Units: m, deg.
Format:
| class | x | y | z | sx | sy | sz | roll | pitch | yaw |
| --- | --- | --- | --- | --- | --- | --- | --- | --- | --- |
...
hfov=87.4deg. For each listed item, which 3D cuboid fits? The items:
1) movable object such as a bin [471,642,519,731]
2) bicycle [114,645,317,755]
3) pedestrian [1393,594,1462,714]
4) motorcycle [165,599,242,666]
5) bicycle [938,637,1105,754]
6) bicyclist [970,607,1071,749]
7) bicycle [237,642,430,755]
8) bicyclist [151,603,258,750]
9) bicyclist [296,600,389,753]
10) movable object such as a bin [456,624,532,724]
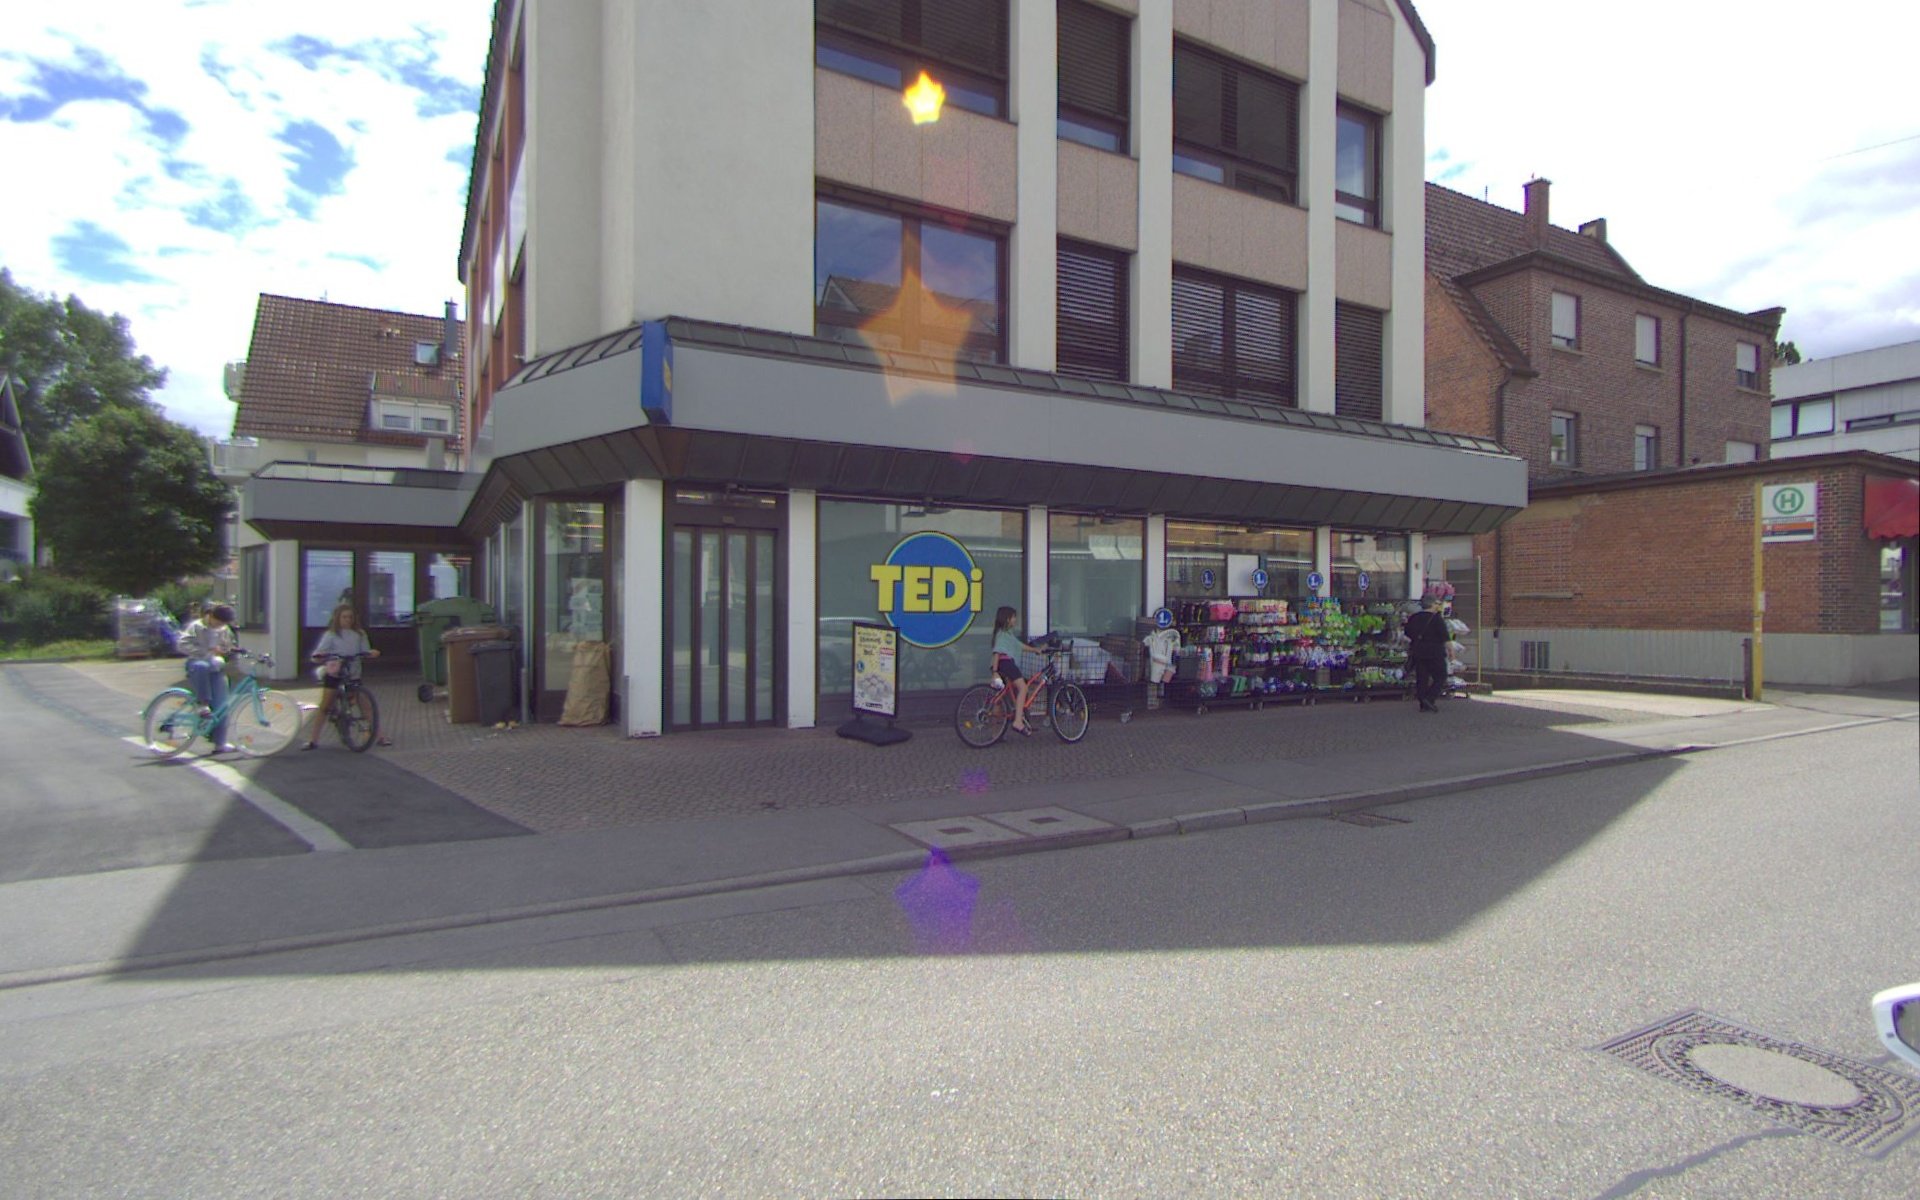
| class | x | y | z | sx | sy | sz | roll | pitch | yaw |
| --- | --- | --- | --- | --- | --- | --- | --- | --- | --- |
| movable object such as a bin | -5.166 | 0.948 | 11.157 | 0.438 | 0.923 | 0.405 | -2 | 1 | -30 |
| bicycle | -6.670 | 0.886 | 9.019 | 1.557 | 0.929 | 0.459 | 0 | 0 | 6 |
| pedestrian | 6.420 | 0.731 | 13.830 | 0.757 | 1.579 | 0.574 | 2 | 0 | 20 |
| motorcycle | -18.695 | 0.782 | 24.909 | 0.849 | 1.539 | 3.595 | 1 | -1 | -26 |
| bicycle | 0.650 | 0.950 | 10.345 | 1.714 | 1.064 | 0.441 | 1 | 6 | -30 |
| bicyclist | 0.614 | 0.768 | 10.277 | 0.753 | 1.355 | 0.664 | 0 | 4 | -30 |
| bicycle | -5.894 | 0.903 | 9.462 | 1.657 | 0.967 | 0.555 | 0 | 0 | 15 |
| bicyclist | -6.773 | 0.665 | 9.025 | 0.418 | 1.258 | 0.642 | 1 | 0 | 3 |
| bicyclist | -5.806 | 0.702 | 9.466 | 0.416 | 1.384 | 0.589 | -1 | 1 | 14 |
| movable object such as a bin | -5.451 | 0.839 | 11.744 | 0.729 | 1.080 | 0.680 | -2 | 1 | -30 |
